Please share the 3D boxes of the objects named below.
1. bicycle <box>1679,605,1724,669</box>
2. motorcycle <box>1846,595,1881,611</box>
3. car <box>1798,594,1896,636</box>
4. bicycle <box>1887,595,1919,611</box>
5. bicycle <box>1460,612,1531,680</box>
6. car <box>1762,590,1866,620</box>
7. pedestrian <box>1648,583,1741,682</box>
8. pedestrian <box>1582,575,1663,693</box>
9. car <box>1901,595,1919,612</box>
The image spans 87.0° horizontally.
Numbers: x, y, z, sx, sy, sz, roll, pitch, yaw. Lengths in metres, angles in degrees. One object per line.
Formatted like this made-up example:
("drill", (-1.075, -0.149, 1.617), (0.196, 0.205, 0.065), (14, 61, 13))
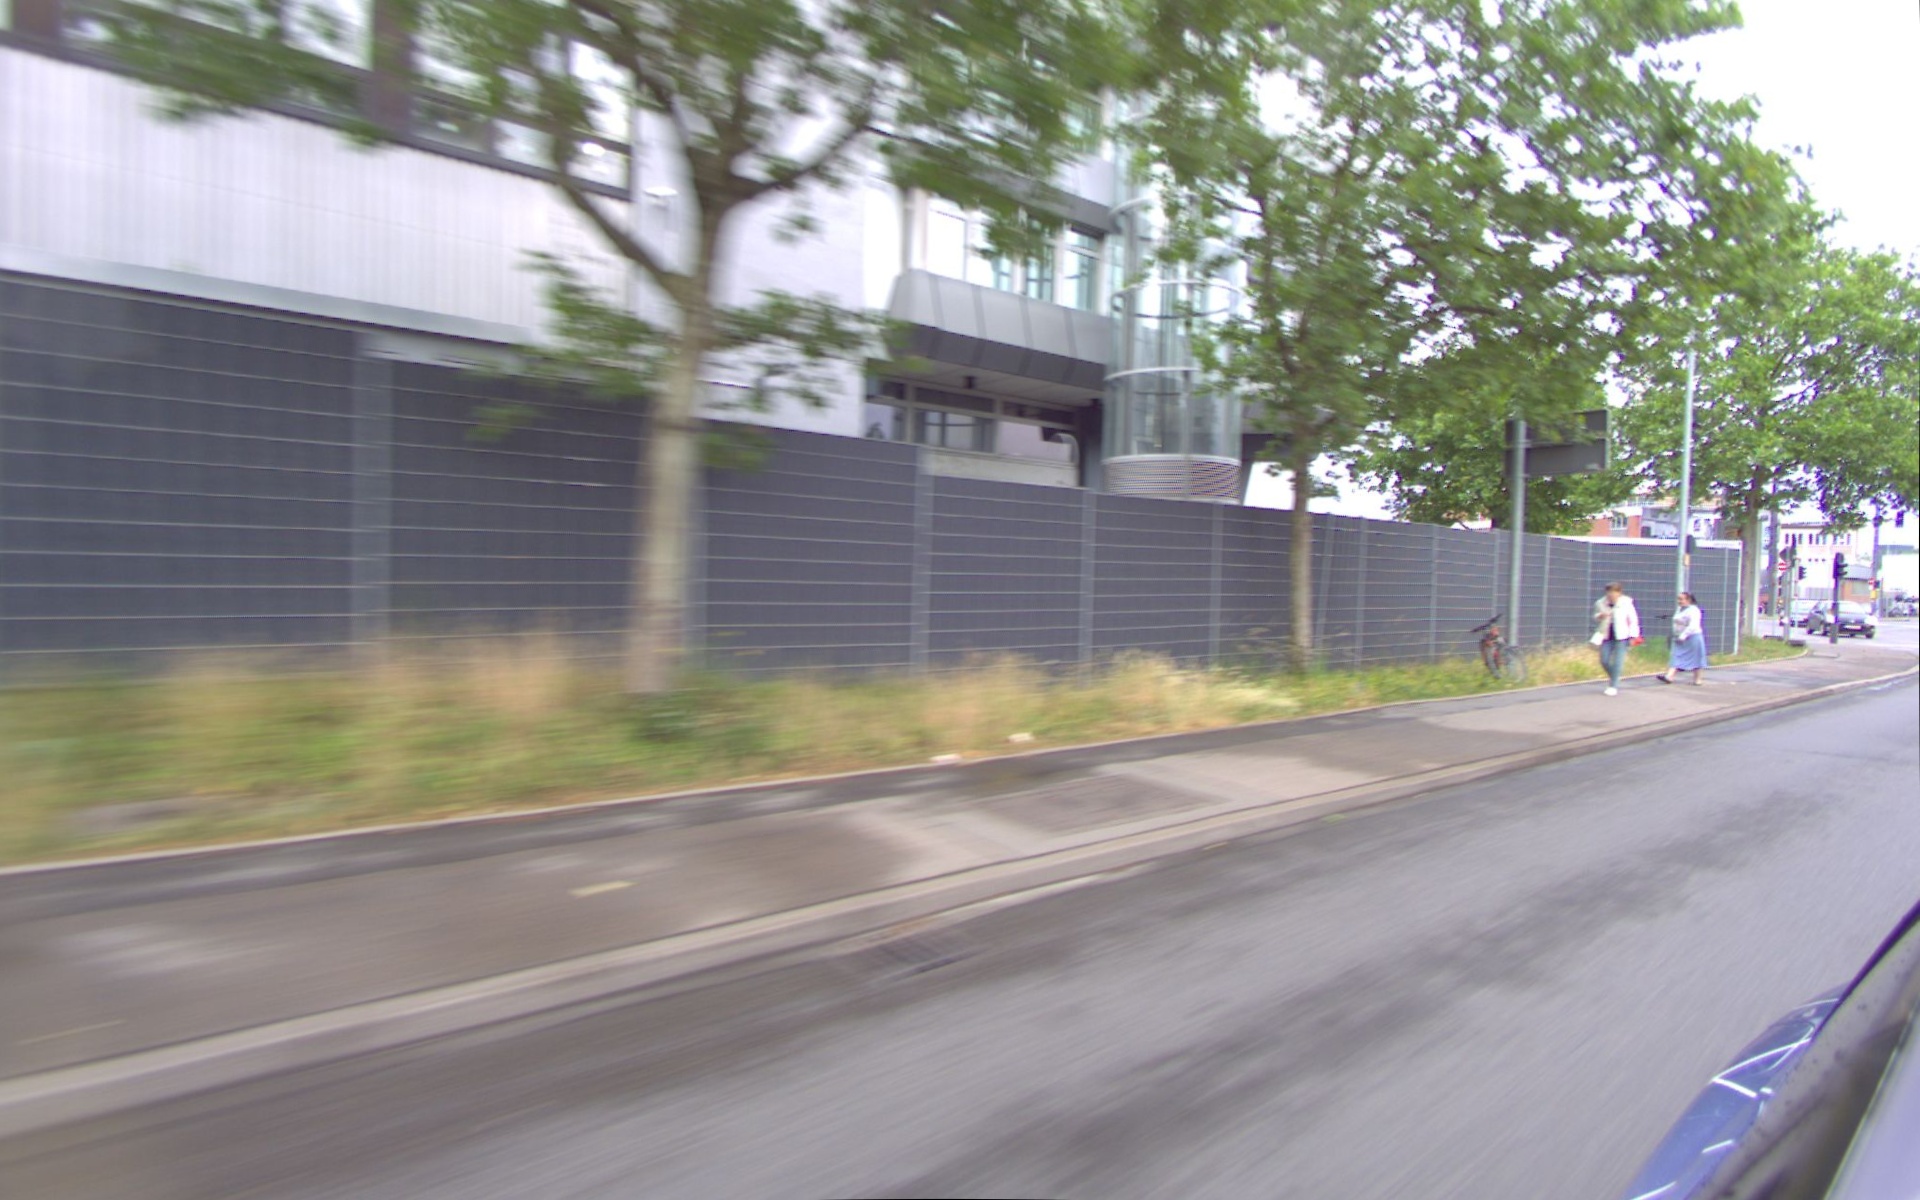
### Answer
("bicycle", (14.075, 0.672, 19.197), (1.941, 1.132, 0.342), (0, 2, -45))
("motorcycle", (70.191, 0.226, 78.658), (0.478, 1.159, 2.099), (-2, 1, -15))
("car", (37.441, 0.603, 42.821), (1.673, 1.526, 3.988), (-1, 2, 19))
("bicycle", (71.252, 0.251, 76.344), (2.041, 1.144, 0.420), (-2, 1, 11))
("bicycle", (8.569, 0.711, 16.256), (0.505, 0.965, 1.696), (2, 2, 11))
("car", (45.666, 0.289, 54.227), (4.041, 1.492, 1.729), (-1, 2, 35))
("pedestrian", (11.869, 0.509, 16.378), (0.825, 1.539, 0.835), (1, 1, -5))
("pedestrian", (9.504, 0.468, 14.519), (0.825, 1.612, 0.711), (0, 2, -39))
("car", (97.292, 0.349, 102.566), (4.418, 1.688, 1.785), (-1, 1, -34))
